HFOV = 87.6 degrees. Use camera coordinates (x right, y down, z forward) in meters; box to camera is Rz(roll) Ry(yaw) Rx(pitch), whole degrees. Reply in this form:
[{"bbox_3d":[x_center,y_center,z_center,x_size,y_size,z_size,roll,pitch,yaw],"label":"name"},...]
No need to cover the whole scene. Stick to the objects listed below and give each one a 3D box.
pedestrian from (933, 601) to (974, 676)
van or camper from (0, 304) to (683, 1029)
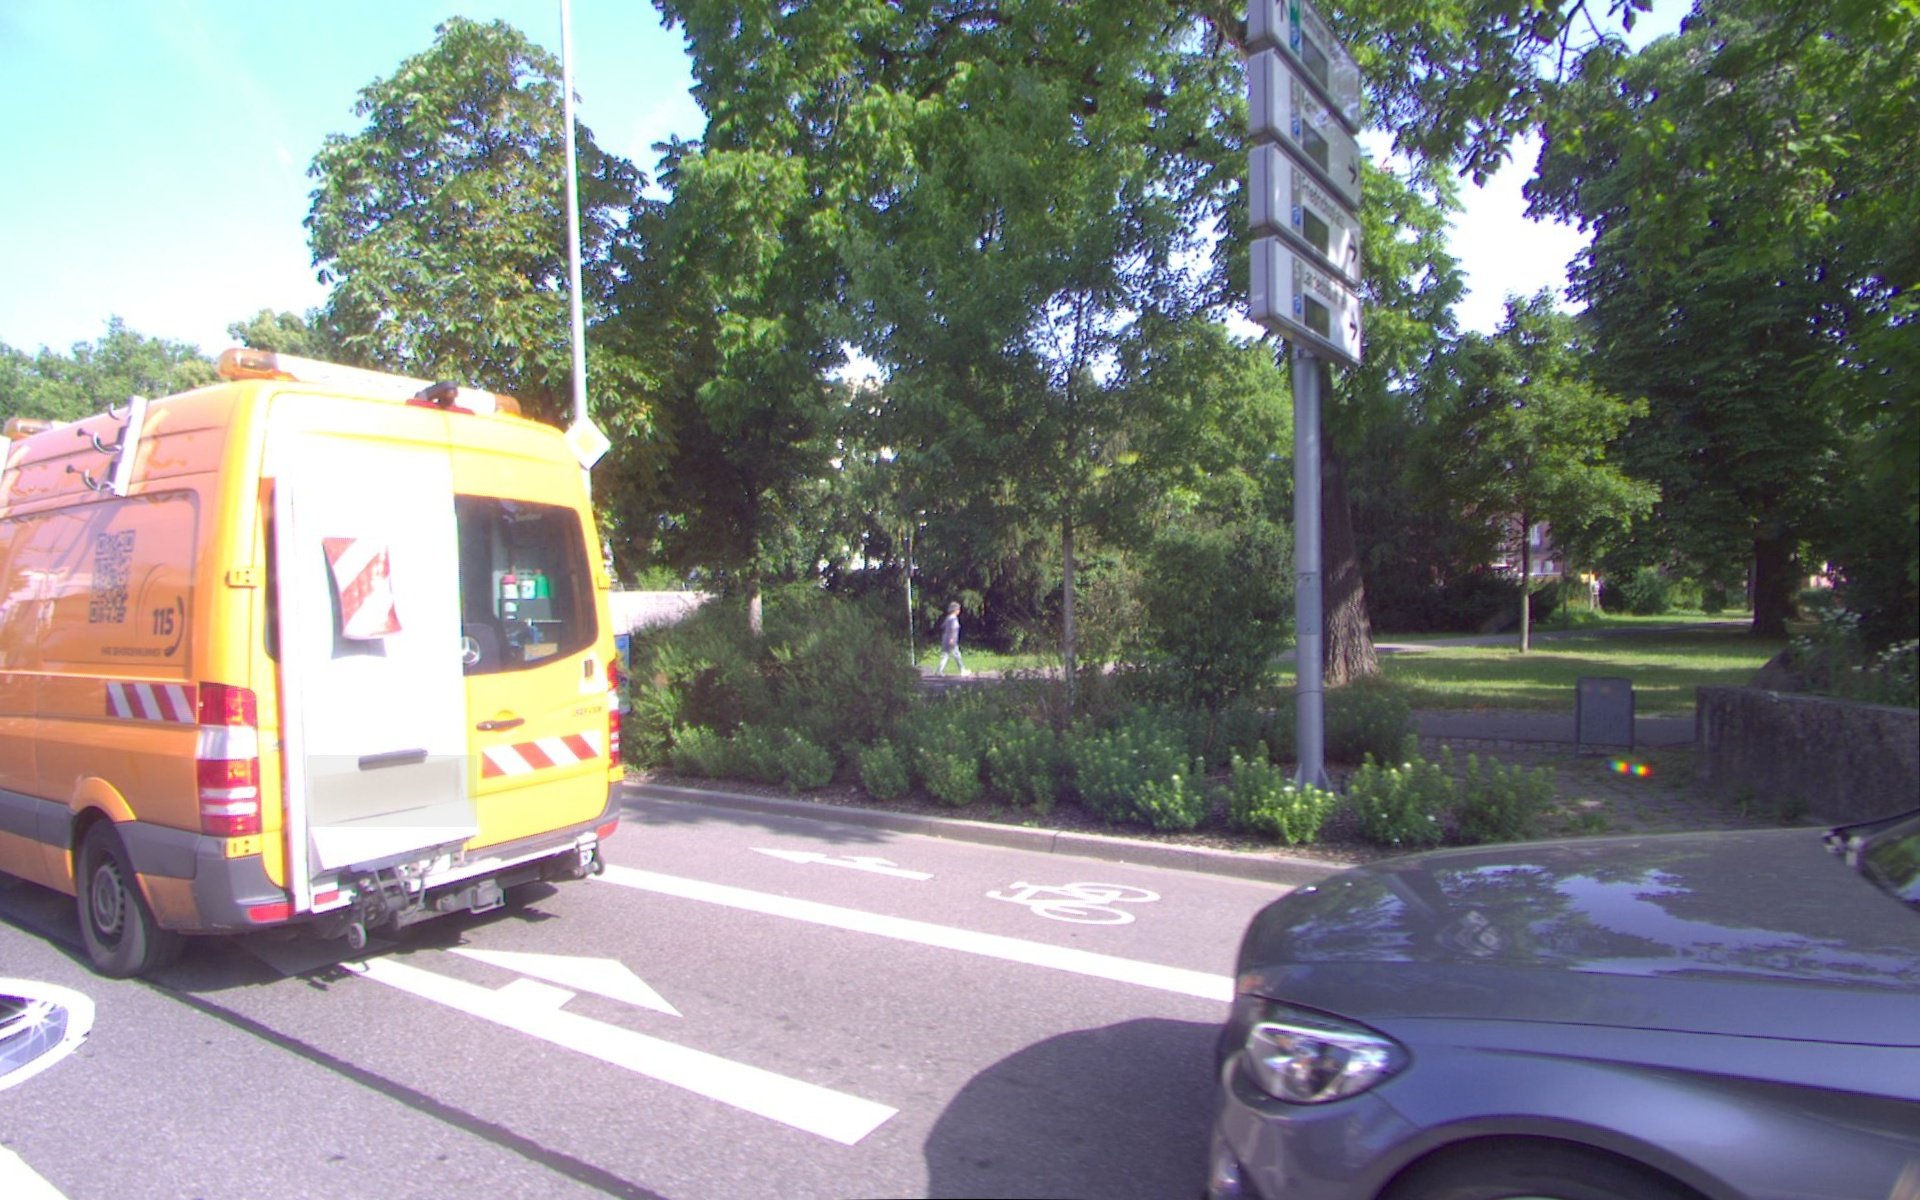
[{"bbox_3d":[-0.135,0.798,20.955,0.659,1.538,0.532,-1,1,-26],"label":"pedestrian"},{"bbox_3d":[-4.470,0.326,5.909,5.975,2.503,1.982,-2,-2,32],"label":"van or camper"}]
